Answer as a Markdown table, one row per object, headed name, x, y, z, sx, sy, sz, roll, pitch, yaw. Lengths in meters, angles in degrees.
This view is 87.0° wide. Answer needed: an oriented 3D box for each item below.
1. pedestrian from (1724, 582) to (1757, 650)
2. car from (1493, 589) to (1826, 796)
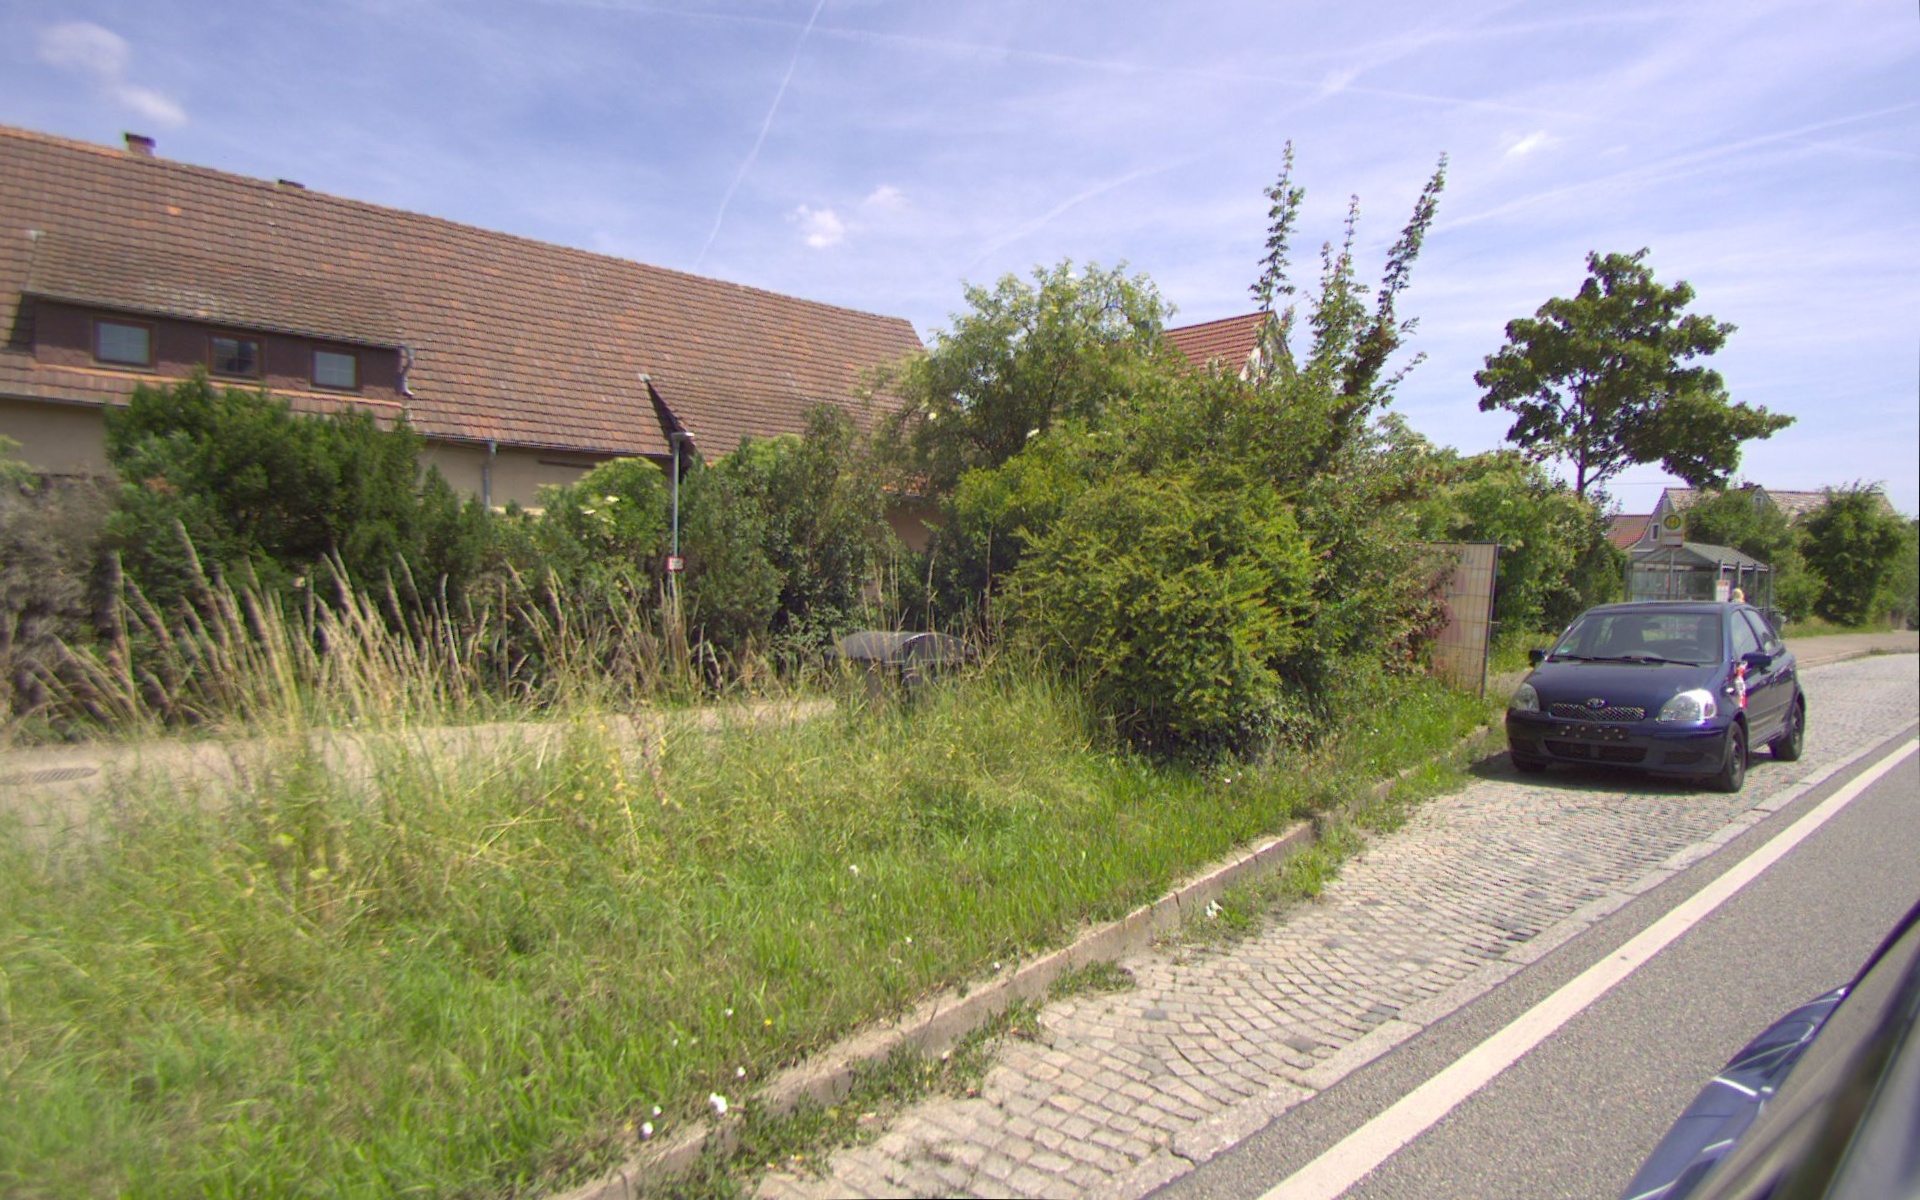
| name | x | y | z | sx | sy | sz | roll | pitch | yaw |
| --- | --- | --- | --- | --- | --- | --- | --- | --- | --- |
| pedestrian | 18.305 | 0.365 | 23.743 | 0.517 | 1.568 | 0.556 | 1 | 1 | 32 |
| car | 6.416 | 0.681 | 9.168 | 3.490 | 1.504 | 1.634 | 0 | -1 | -41 |
